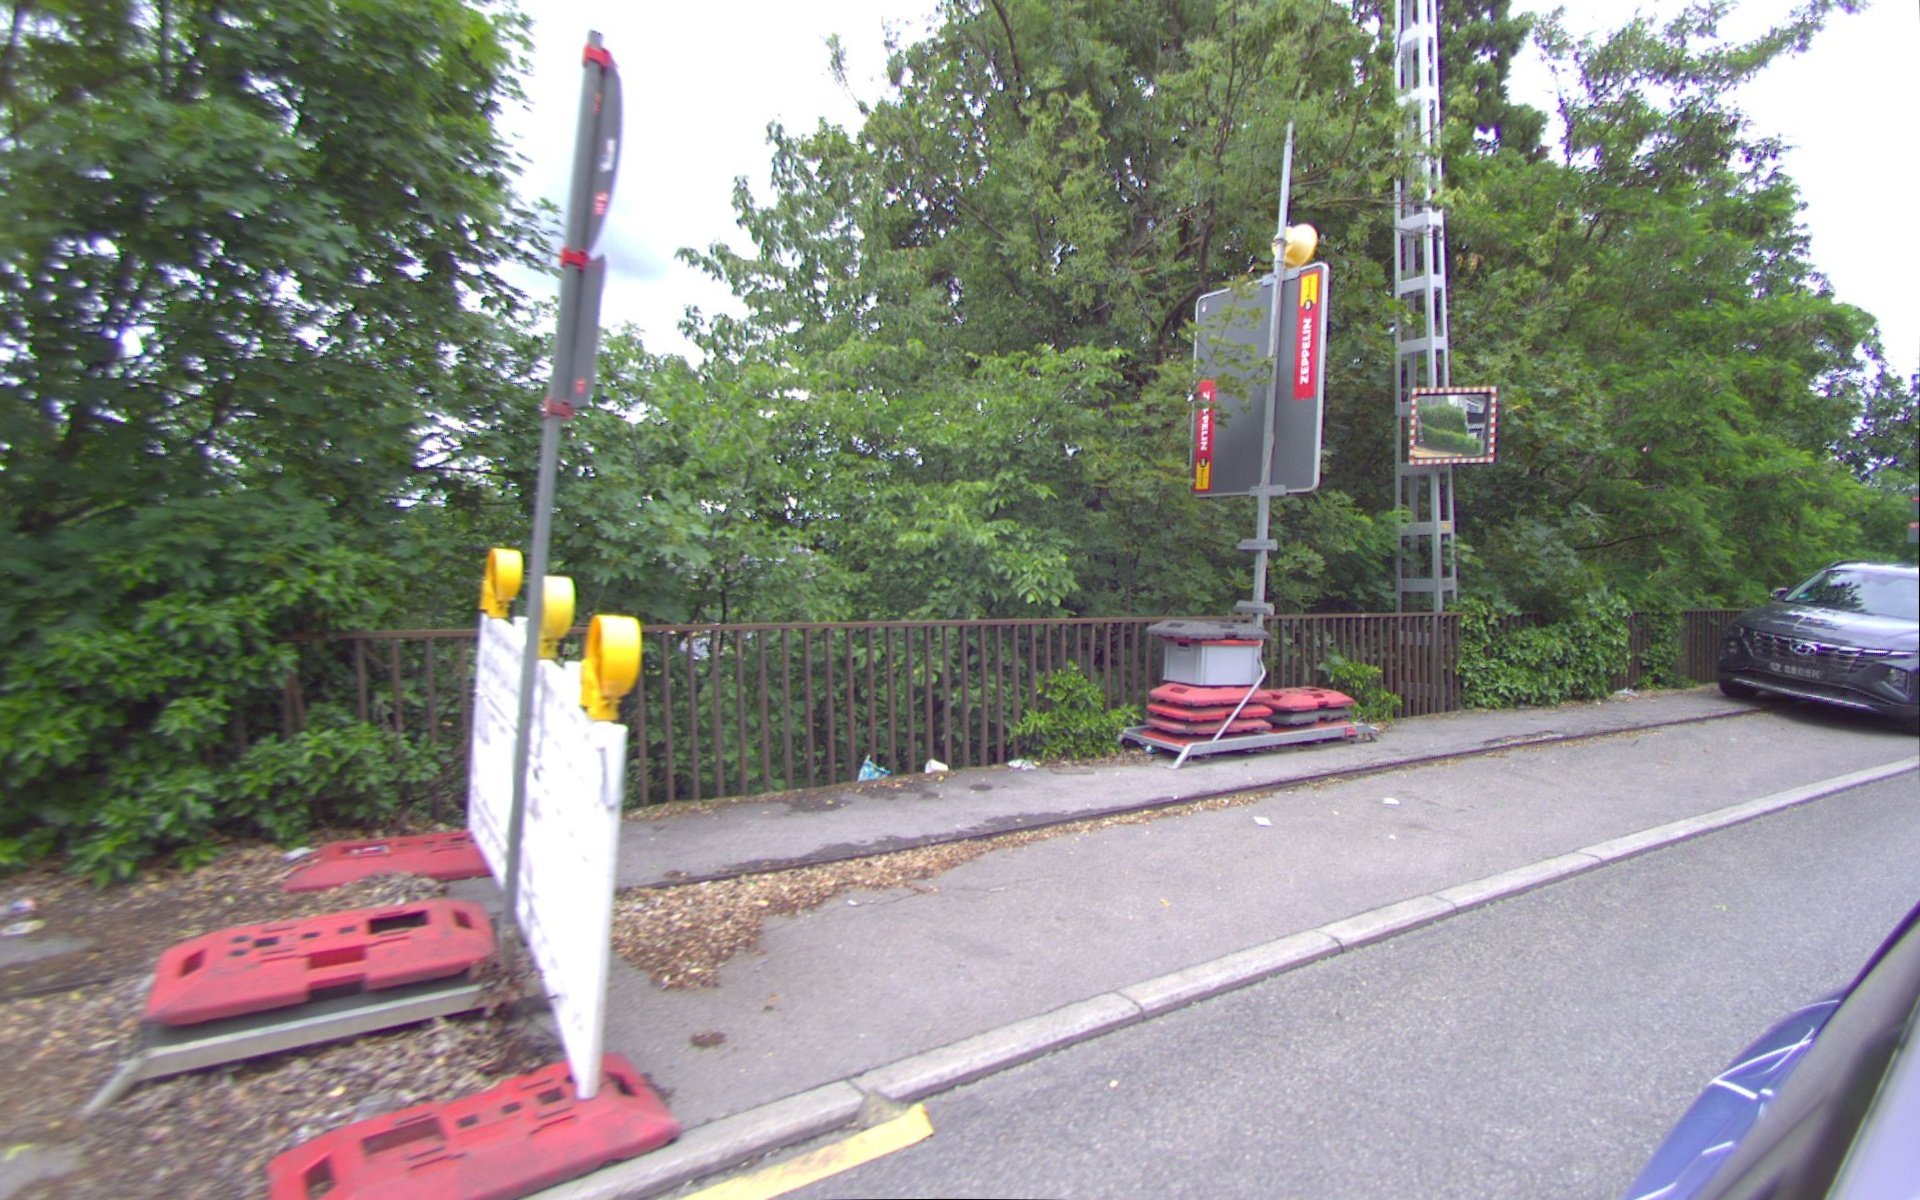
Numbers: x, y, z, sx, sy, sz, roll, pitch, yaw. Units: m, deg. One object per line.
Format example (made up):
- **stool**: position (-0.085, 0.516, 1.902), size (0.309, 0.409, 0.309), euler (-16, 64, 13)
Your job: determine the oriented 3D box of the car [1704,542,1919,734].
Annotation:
- **car**: position (10.530, 0.324, 11.322), size (4.193, 1.693, 1.864), euler (0, 7, -30)
